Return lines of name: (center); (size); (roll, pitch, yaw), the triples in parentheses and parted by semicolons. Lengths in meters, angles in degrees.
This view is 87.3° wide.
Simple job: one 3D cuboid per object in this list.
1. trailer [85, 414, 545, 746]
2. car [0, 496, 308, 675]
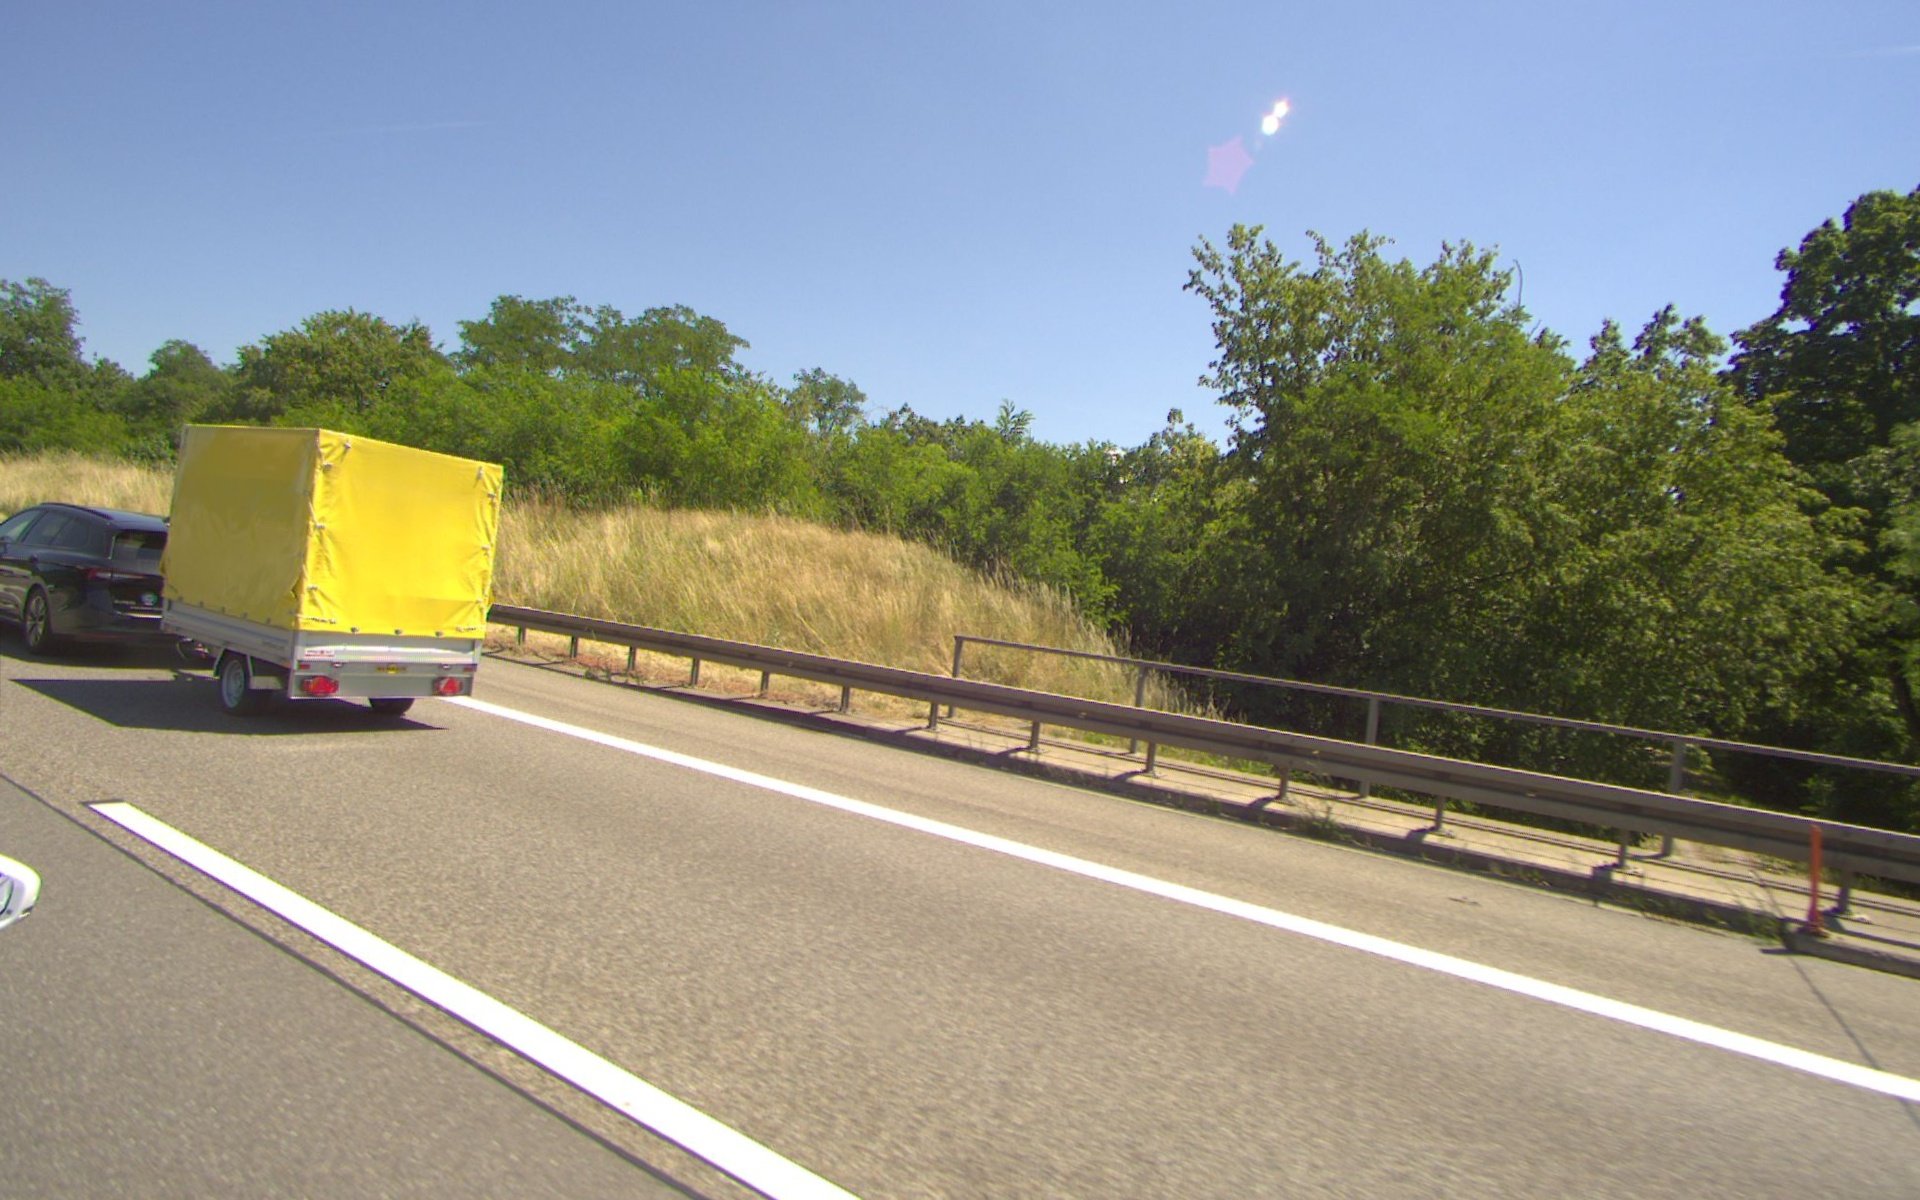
trailer: (-5.633, -0.256, 8.690); (3.776, 2.318, 1.705); (7, 0, 32)
car: (-9.326, -0.251, 10.939); (4.709, 1.473, 1.824); (7, 0, 32)
